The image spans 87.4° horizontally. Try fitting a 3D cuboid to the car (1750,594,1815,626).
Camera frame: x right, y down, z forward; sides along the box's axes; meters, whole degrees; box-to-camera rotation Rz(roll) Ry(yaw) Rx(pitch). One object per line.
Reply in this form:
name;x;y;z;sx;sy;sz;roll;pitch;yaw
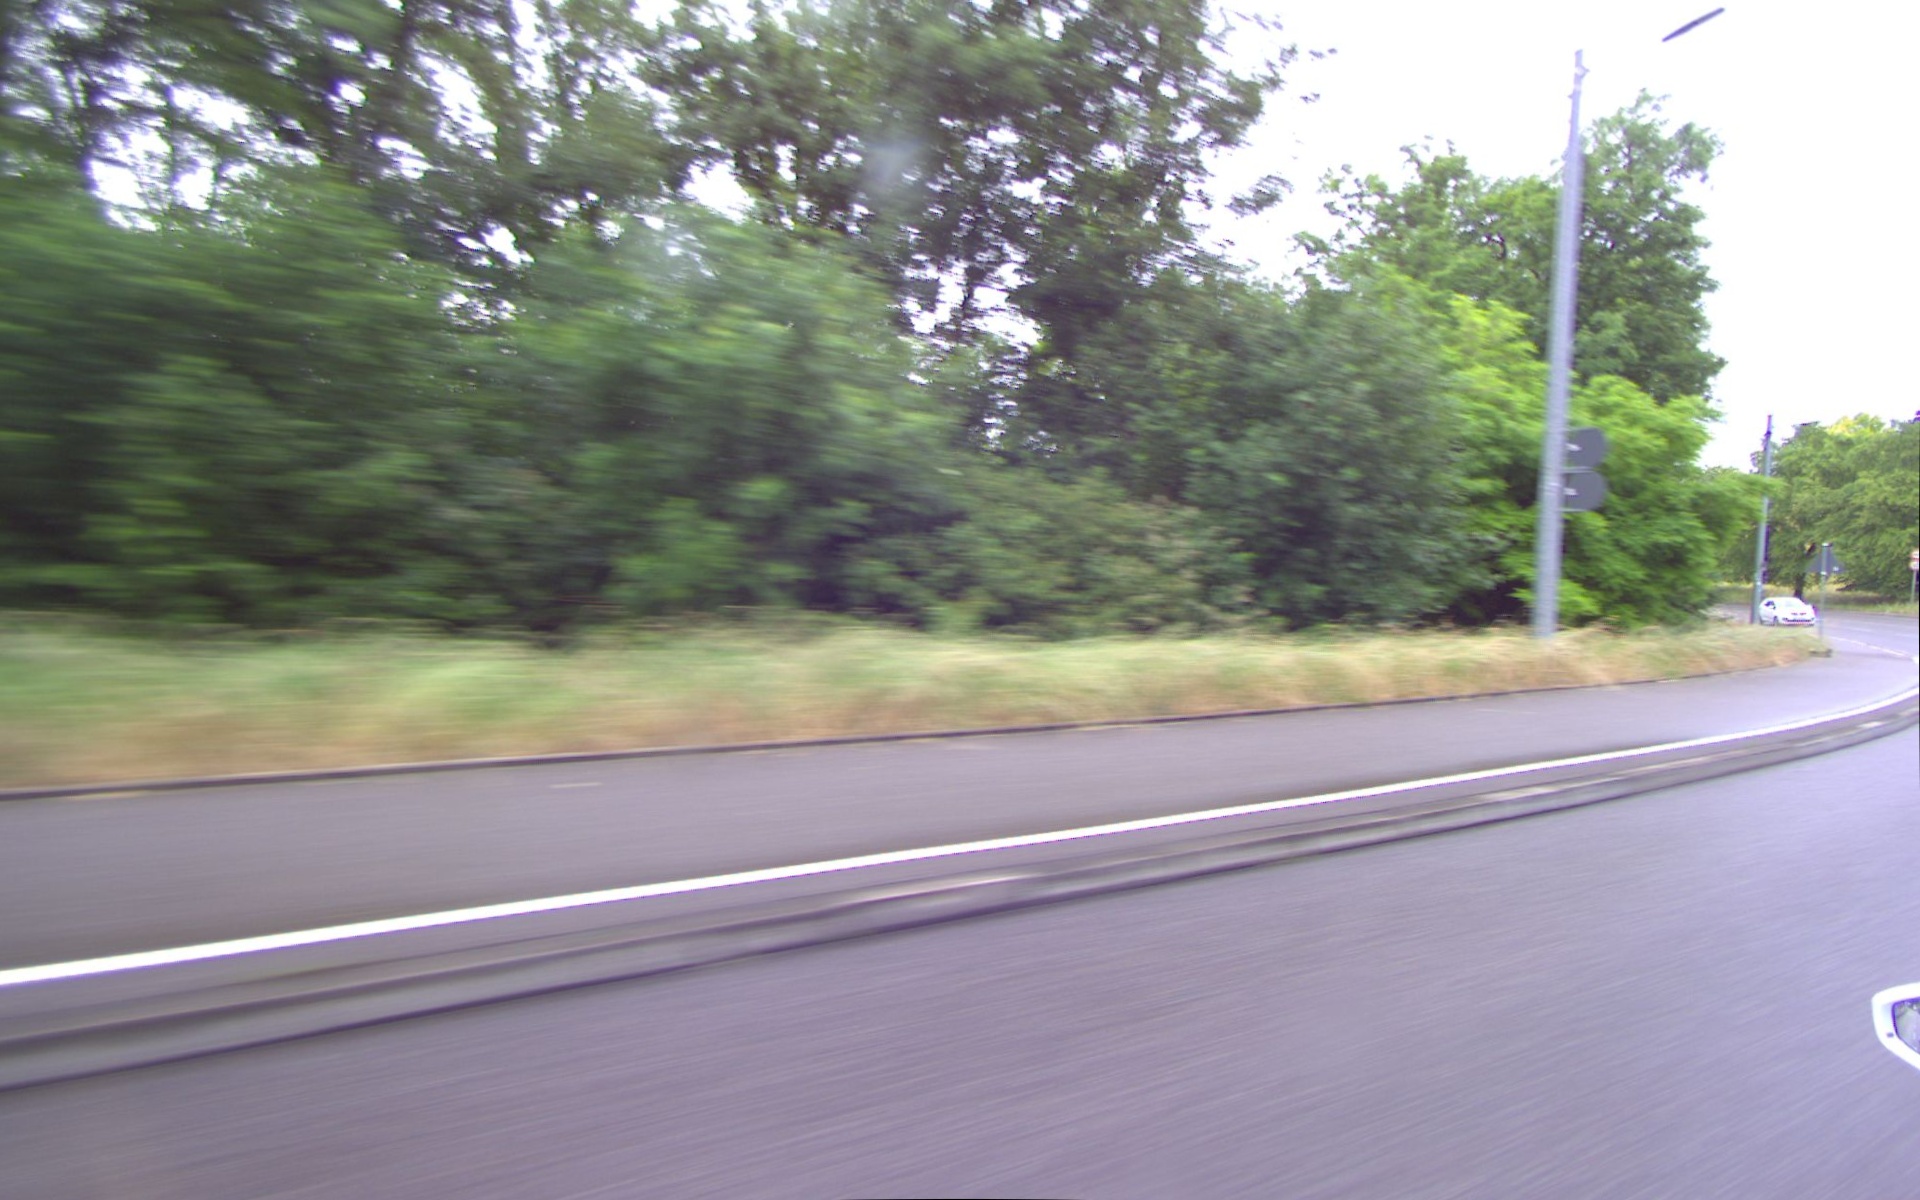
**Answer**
car;44.440;0.509;54.361;1.765;1.506;3.995;-2;2;25
